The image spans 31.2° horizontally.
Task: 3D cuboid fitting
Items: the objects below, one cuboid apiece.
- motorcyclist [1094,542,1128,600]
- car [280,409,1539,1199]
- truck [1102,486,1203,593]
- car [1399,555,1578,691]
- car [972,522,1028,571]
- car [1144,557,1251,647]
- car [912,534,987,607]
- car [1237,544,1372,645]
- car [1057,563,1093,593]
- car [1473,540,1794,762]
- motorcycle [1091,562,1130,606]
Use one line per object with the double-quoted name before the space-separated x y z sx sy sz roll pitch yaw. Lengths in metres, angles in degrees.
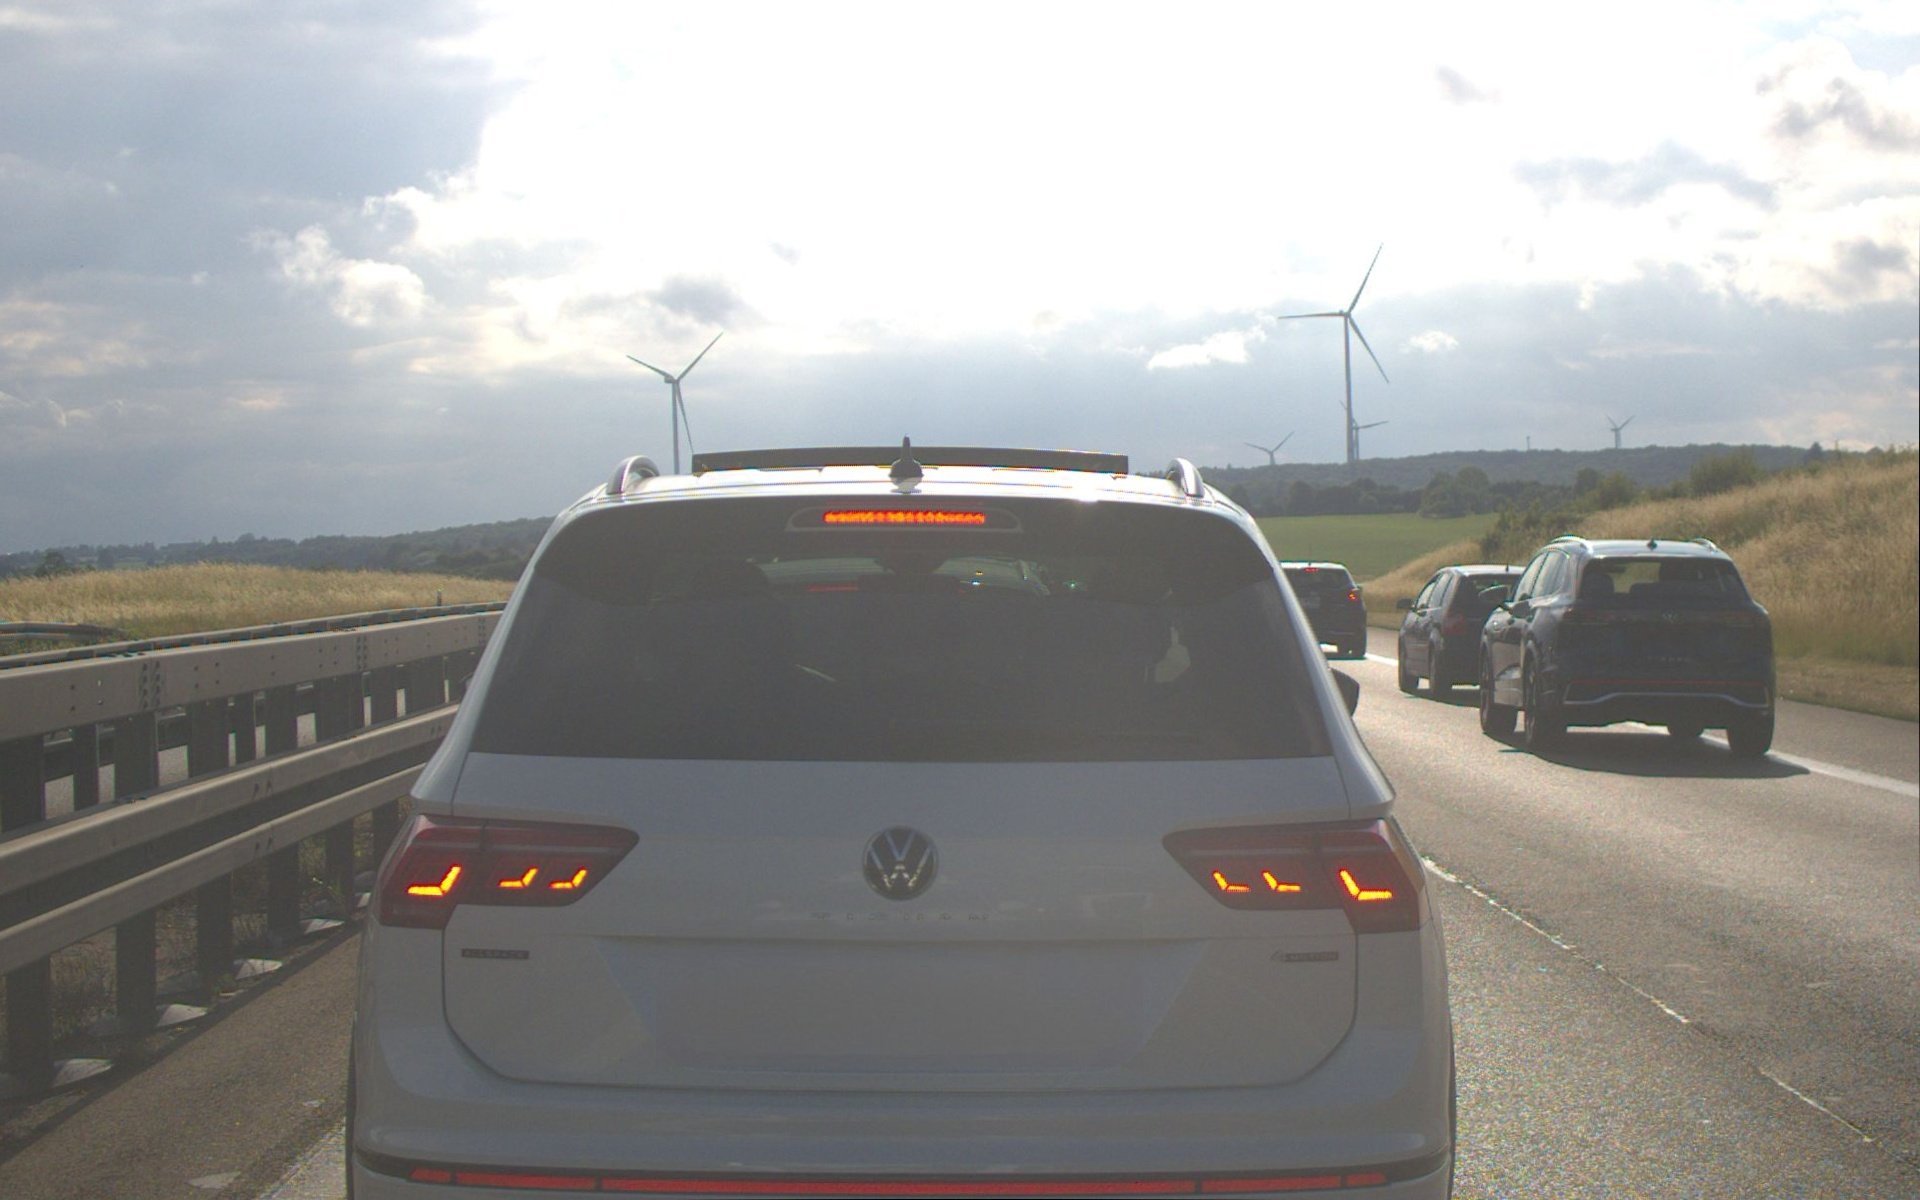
"motorcyclist" 4.062 -0.792 92.678 0.849 1.554 0.934 0 0 -1
"car" -0.091 0.551 6.839 1.770 1.670 4.000 0 0 -1
"truck" 6.722 -2.149 121.280 3.184 3.581 11.130 0 1 1
"car" 5.753 0.224 37.738 1.606 1.415 3.672 0 0 4
"car" 1.266 -1.696 110.114 1.704 1.540 4.000 0 0 -1
"car" 4.455 0.017 64.909 1.704 1.644 4.000 0 0 -1
"car" -0.259 -0.693 80.074 1.704 1.644 4.000 0 0 -1
"car" 5.433 -0.104 54.668 1.704 1.540 4.000 0 0 -1
"car" 5.933 -1.140 177.321 1.704 1.540 4.000 0 0 -1
"car" 5.301 0.361 27.574 1.821 1.596 4.235 2 0 2
"motorcycle" 4.059 -0.438 92.726 0.895 1.186 2.257 0 0 -1
